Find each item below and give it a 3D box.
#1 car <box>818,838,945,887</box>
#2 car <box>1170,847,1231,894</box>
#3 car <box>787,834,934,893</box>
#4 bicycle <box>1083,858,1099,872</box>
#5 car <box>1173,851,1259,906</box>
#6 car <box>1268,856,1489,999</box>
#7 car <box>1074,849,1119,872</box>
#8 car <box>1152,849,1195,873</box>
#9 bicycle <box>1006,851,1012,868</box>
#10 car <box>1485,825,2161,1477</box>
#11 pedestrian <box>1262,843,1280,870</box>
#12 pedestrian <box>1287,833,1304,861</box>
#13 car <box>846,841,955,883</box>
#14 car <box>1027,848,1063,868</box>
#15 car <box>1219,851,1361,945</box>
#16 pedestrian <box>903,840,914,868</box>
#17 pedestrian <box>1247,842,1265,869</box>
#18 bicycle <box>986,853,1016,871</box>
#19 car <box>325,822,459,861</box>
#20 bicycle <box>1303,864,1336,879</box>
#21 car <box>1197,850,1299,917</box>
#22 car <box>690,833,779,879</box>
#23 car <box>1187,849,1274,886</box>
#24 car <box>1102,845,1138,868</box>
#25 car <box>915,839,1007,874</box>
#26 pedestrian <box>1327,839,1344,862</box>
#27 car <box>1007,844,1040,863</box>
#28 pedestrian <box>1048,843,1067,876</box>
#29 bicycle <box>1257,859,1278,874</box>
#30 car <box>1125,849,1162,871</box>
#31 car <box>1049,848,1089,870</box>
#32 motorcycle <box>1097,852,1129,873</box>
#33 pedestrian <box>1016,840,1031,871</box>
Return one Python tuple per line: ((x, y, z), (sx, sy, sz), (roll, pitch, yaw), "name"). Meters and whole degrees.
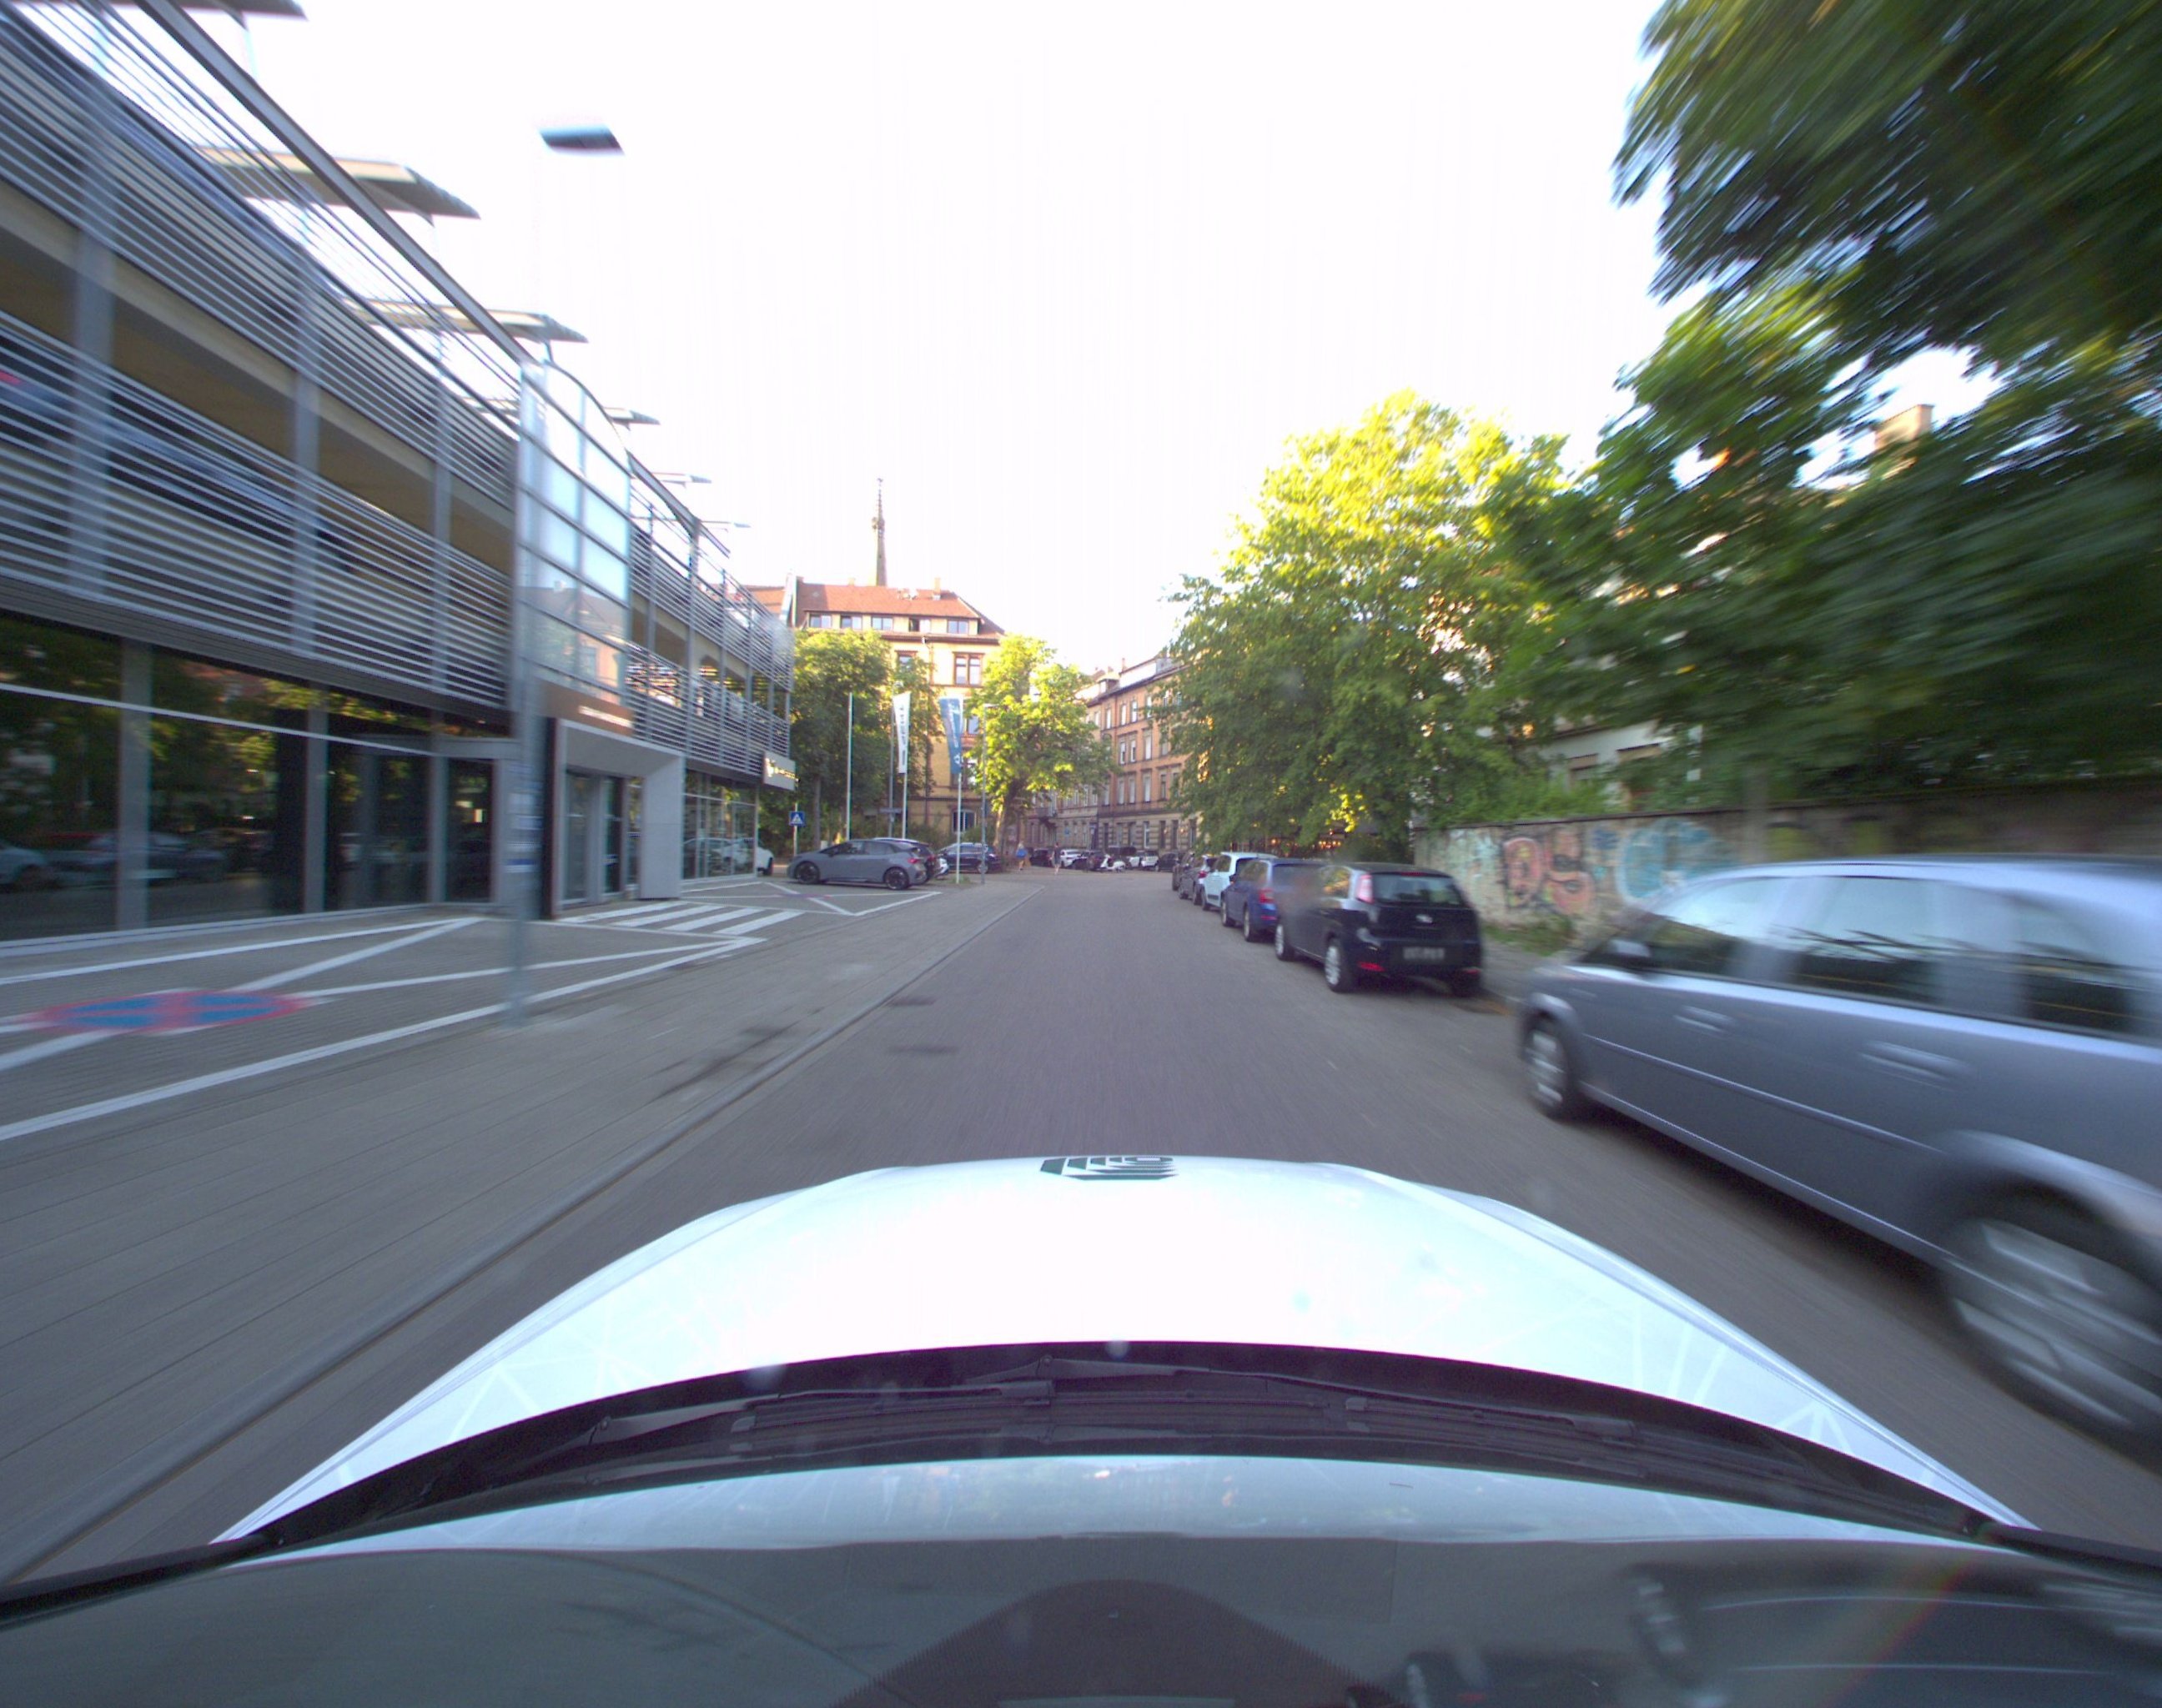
((-7.041, 0.274, 28.995), (4.054, 1.617, 1.765), (1, 1, -1), "car")
((4.259, 0.551, 29.602), (1.689, 1.571, 3.972), (1, 0, 1), "car")
((-6.987, 0.269, 26.105), (4.117, 1.617, 1.913), (3, 1, -1), "car")
((0.644, 0.671, 50.842), (0.421, 0.822, 1.470), (1, 1, 23), "bicycle")
((3.976, 0.662, 24.571), (1.691, 1.476, 4.208), (1, 0, -3), "car")
((3.641, 0.793, 10.660), (1.591, 1.476, 3.775), (1, 0, 2), "car")
((1.005, 0.421, 56.138), (1.661, 1.430, 3.961), (1, 2, -22), "car")
((6.545, 0.475, 57.683), (1.681, 1.525, 3.220), (1, 1, -23), "car")
((-4.615, 0.322, 52.104), (0.318, 1.028, 1.676), (1, 1, -3), "bicycle")
((3.597, 0.737, 3.619), (1.753, 1.604, 3.875), (1, 0, 2), "car")
((12.492, 0.157, 53.549), (0.774, 1.804, 0.839), (1, 1, -13), "pedestrian")
((14.339, -0.479, 54.480), (0.774, 1.804, 0.839), (0, 1, -13), "pedestrian")
((-7.363, 0.296, 33.554), (4.035, 1.475, 1.919), (3, 1, -3), "car")
((-2.908, 0.304, 65.206), (1.661, 1.430, 3.867), (1, 2, -22), "car")
((3.723, 0.710, 15.211), (1.689, 1.476, 4.119), (1, 0, 2), "car")
((-10.086, -0.012, 47.604), (0.541, 1.634, 0.448), (1, 1, -3), "pedestrian")
((11.875, 0.106, 55.275), (0.843, 1.804, 0.771), (1, 1, -19), "pedestrian")
((-4.672, 0.450, 47.622), (1.679, 1.028, 0.442), (1, 1, -23), "bicycle")
((-30.018, -0.553, 35.581), (4.035, 1.475, 1.919), (3, 1, -3), "car")
((14.834, 1.064, 50.616), (1.969, 0.885, 0.399), (1, 1, -12), "bicycle")
((4.023, 0.663, 20.159), (1.690, 1.476, 3.557), (1, 0, -2), "car")
((-12.819, 0.062, 30.418), (1.698, 1.550, 4.219), (1, 0, -3), "car")
((6.726, 0.577, 36.370), (1.859, 1.466, 3.994), (3, 2, 45), "car")
((3.070, 0.184, 64.745), (1.681, 1.782, 2.993), (1, 1, -23), "car")
((-6.574, 0.134, 44.978), (4.821, 1.732, 1.918), (2, 1, -5), "car")
((16.493, -0.248, 52.809), (0.773, 1.481, 0.759), (1, 1, -10), "pedestrian")
((-5.006, -0.047, 70.564), (1.661, 1.524, 3.867), (1, 2, -22), "car")
((-1.327, 0.290, 46.086), (0.737, 1.804, 1.115), (1, 1, -19), "pedestrian")
((11.854, 0.795, 51.874), (0.321, 0.914, 1.349), (0, 1, -40), "bicycle")
((4.705, 0.448, 61.254), (1.681, 1.525, 2.747), (2, 1, -23), "car")
((-0.947, 0.368, 60.664), (1.660, 1.430, 4.139), (1, 2, -20), "car")
((2.070, 0.550, 52.856), (1.931, 1.340, 0.575), (1, 1, -9), "motorcycle")
((-3.442, 0.084, 48.606), (0.813, 1.852, 0.802), (1, 1, -3), "pedestrian")
